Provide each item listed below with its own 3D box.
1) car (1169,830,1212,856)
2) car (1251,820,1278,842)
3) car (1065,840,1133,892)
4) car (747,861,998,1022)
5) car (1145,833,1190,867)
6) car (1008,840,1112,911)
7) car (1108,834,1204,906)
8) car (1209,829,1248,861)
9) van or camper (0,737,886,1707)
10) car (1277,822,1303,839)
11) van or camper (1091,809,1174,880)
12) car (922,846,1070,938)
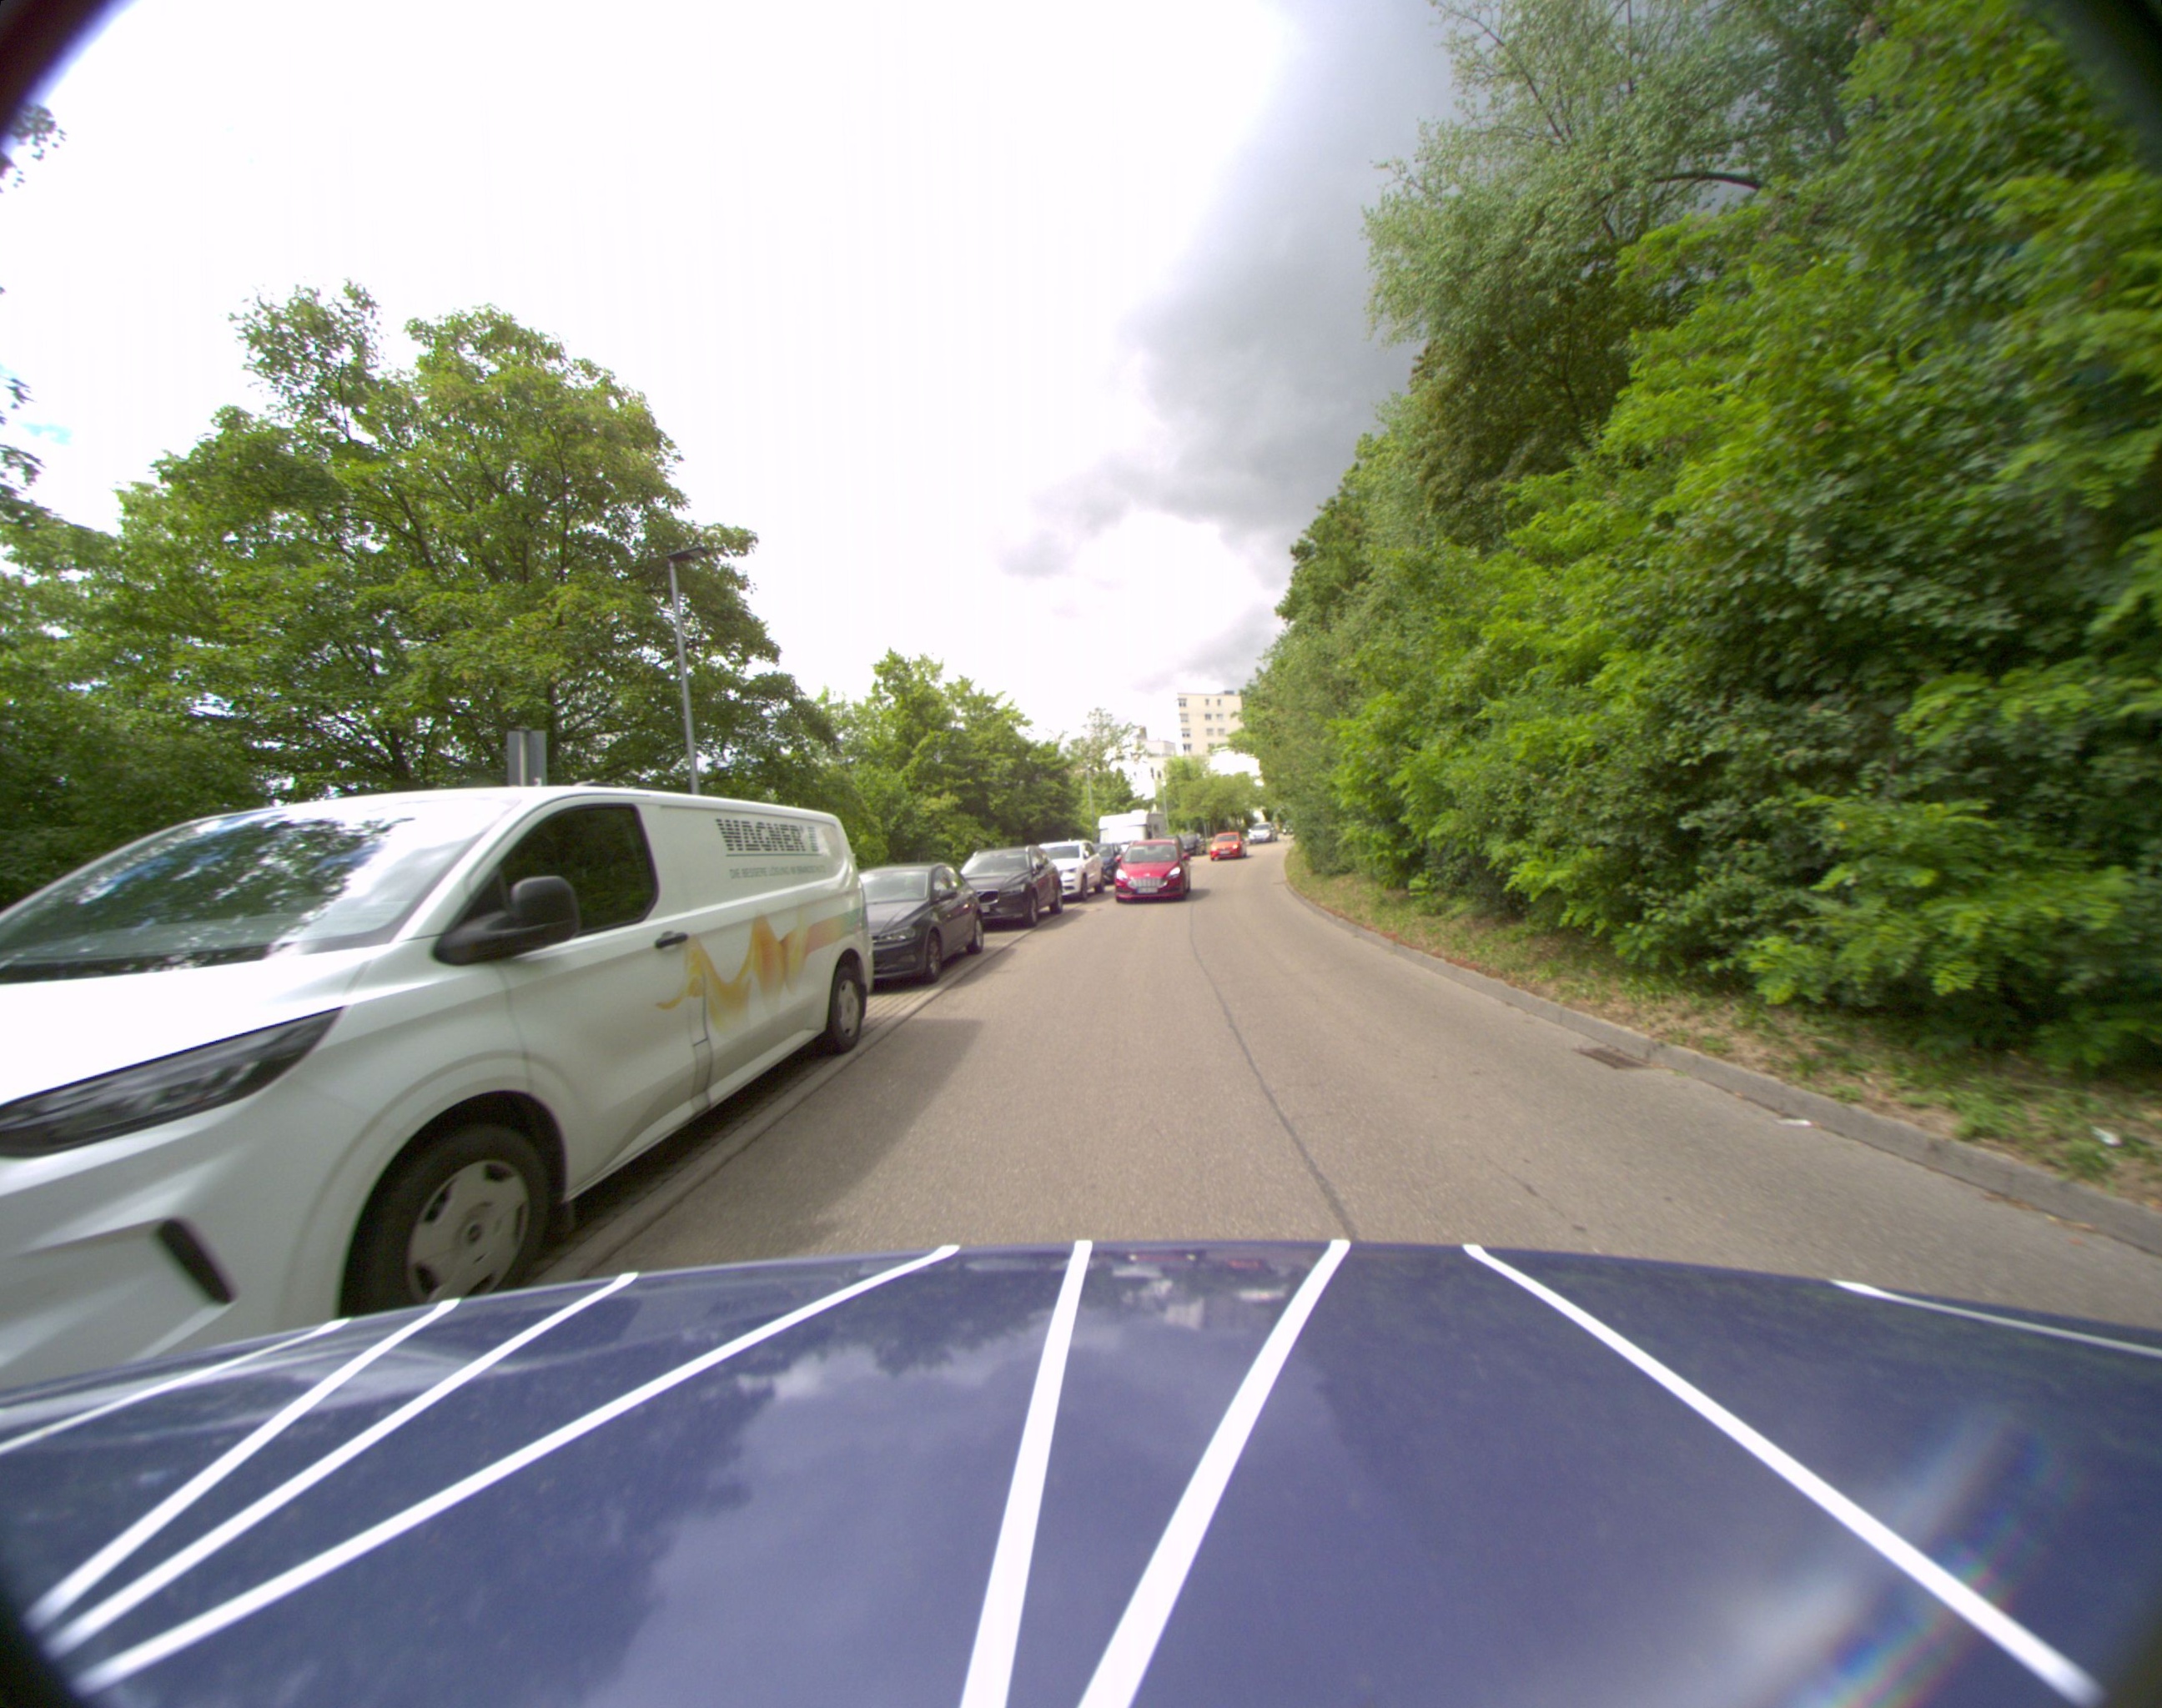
[{"bbox_3d":[7.188,-0.739,49.499,1.778,1.426,4.338,-4,2,21],"label":"car"},{"bbox_3d":[14.926,-1.881,61.611,1.778,1.444,4.002,-6,2,17],"label":"car"},{"bbox_3d":[0.774,0.394,28.904,1.713,1.582,4.002,-6,1,12],"label":"car"},{"bbox_3d":[-2.468,0.966,10.150,1.801,1.456,4.000,-5,1,5],"label":"car"},{"bbox_3d":[4.894,-0.252,42.620,1.731,1.511,3.891,-4,3,17],"label":"car"},{"bbox_3d":[-0.482,0.536,22.529,1.875,1.679,4.582,-6,1,12],"label":"car"},{"bbox_3d":[2.191,0.385,21.230,1.810,1.601,3.724,-2,4,19],"label":"car"},{"bbox_3d":[8.246,-0.536,42.431,1.860,1.435,4.001,-6,2,12],"label":"car"},{"bbox_3d":[-2.867,0.791,4.059,1.998,1.909,5.266,-4,0,2],"label":"van or camper"},{"bbox_3d":[20.309,-2.298,73.967,1.779,1.412,4.001,-7,0,7],"label":"car"},{"bbox_3d":[2.575,-0.540,36.044,2.336,2.853,6.155,-6,1,17],"label":"van or camper"},{"bbox_3d":[-1.630,0.698,16.353,1.997,1.617,4.280,-3,1,9],"label":"car"}]
